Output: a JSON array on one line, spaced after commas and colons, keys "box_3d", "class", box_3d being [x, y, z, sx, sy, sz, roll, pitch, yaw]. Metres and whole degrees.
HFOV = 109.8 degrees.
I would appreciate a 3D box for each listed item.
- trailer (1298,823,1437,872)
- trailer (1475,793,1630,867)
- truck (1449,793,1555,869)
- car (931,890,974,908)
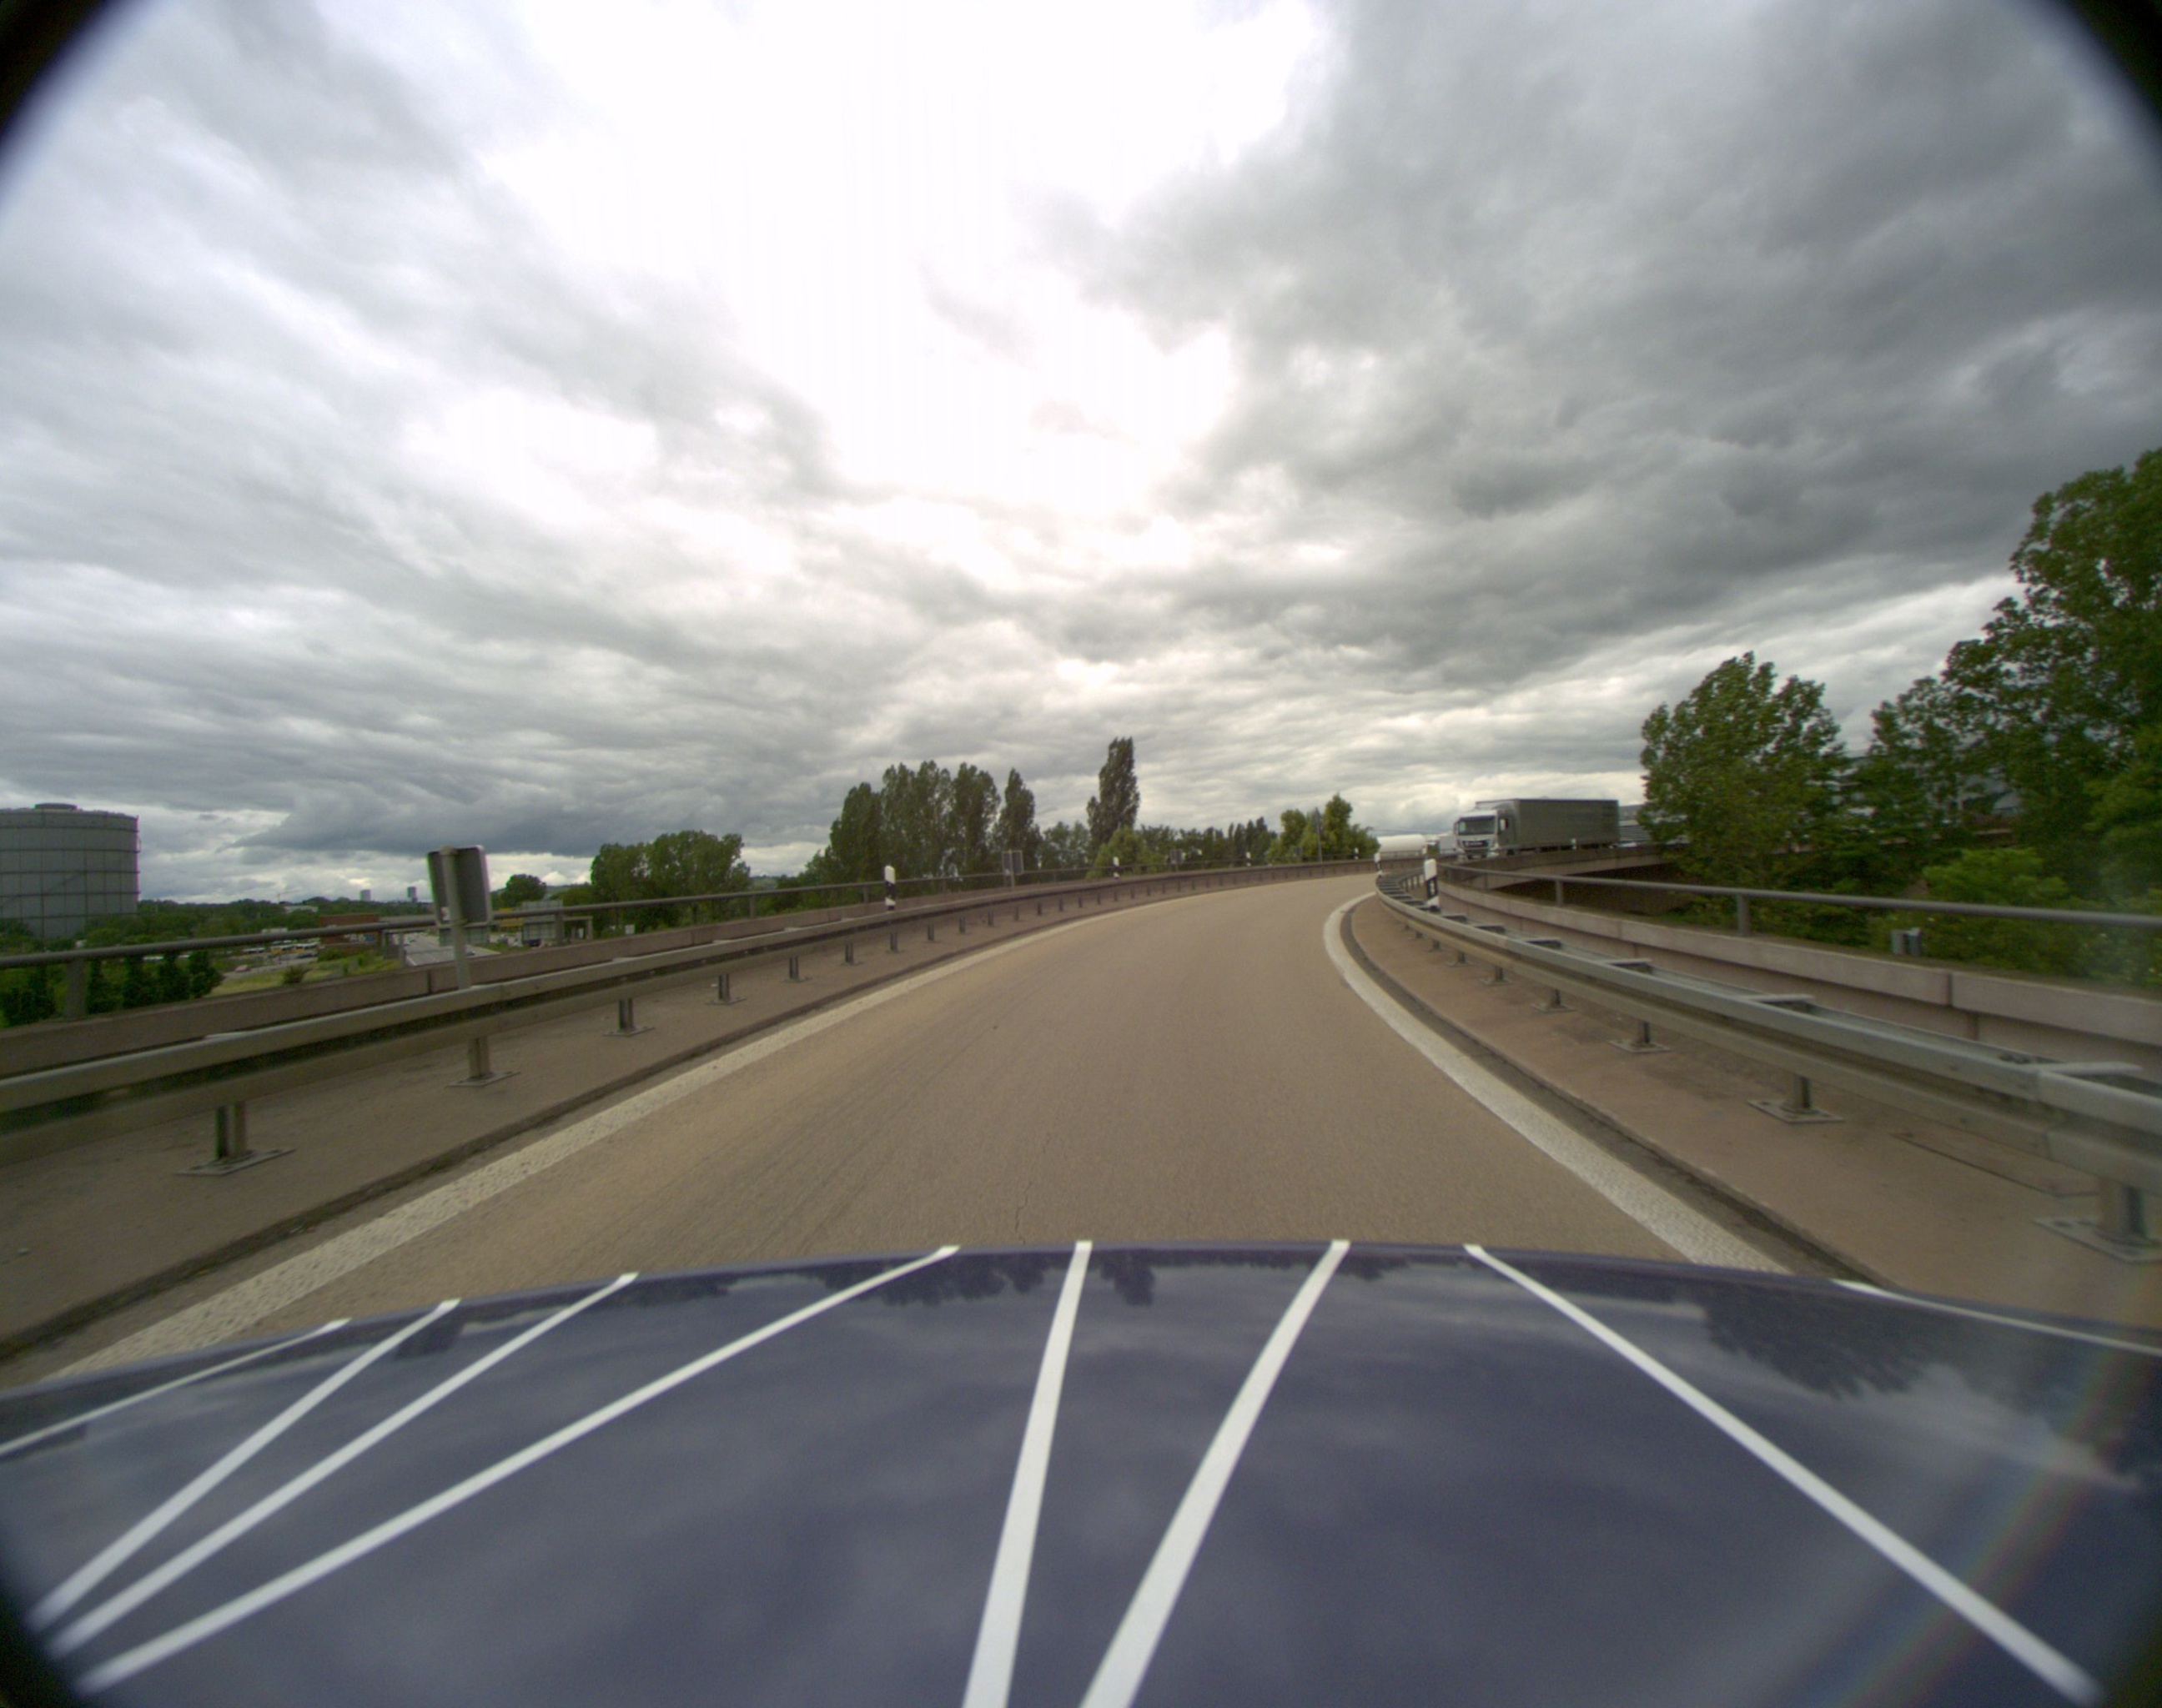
[{"box_3d": [24.827, -0.535, 66.081, 11.000, 3.628, 2.748, -3, 0, -4], "class": "trailer"}, {"box_3d": [30.548, -1.672, 48.773, 13.468, 4.212, 2.743, -3, 0, -33], "class": "trailer"}, {"box_3d": [25.095, -1.411, 45.234, 6.210, 4.203, 2.731, -3, 0, -32], "class": "truck"}, {"box_3d": [-12.269, 4.317, 72.451, 3.926, 1.400, 1.794, -8, -5, 38], "class": "car"}]
